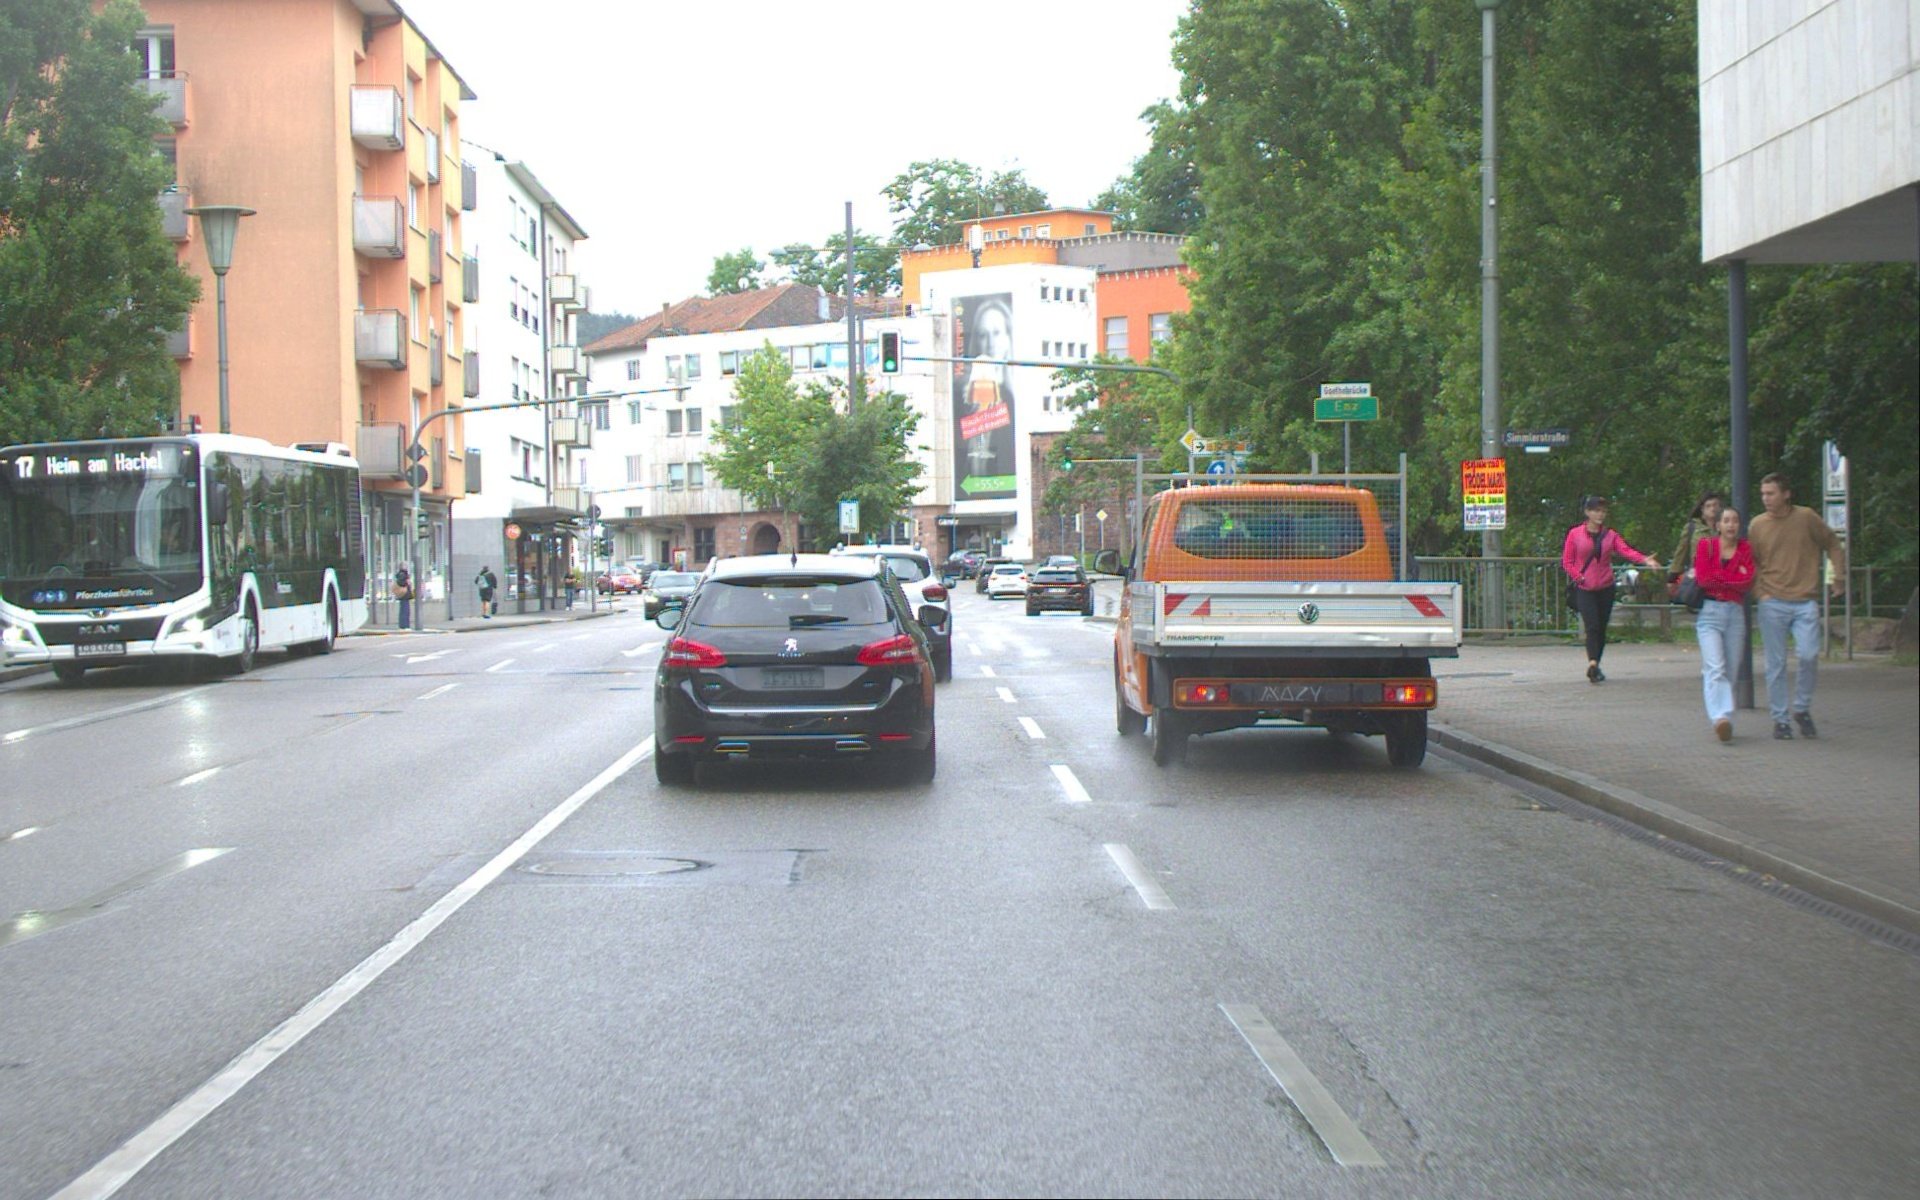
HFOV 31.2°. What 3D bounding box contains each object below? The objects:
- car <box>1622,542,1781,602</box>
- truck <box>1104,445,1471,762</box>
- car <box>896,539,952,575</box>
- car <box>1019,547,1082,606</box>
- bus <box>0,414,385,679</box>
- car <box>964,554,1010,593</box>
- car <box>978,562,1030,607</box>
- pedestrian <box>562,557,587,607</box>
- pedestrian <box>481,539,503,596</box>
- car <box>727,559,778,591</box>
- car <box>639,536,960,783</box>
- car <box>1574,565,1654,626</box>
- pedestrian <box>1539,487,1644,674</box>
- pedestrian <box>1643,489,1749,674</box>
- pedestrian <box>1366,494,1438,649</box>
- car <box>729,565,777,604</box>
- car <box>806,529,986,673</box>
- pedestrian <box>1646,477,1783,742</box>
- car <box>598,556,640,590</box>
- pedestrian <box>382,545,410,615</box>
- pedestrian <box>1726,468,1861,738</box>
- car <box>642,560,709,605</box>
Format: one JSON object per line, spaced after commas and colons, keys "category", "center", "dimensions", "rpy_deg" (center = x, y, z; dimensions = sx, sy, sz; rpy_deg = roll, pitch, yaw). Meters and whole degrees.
{"category": "car", "center": [21.460, -0.819, 99.565], "dimensions": [4.120, 1.615, 1.806], "rpy_deg": [-1, 1, -5]}
{"category": "truck", "center": [2.196, -0.009, 24.400], "dimensions": [2.122, 2.018, 4.716], "rpy_deg": [0, 1, 0]}
{"category": "car", "center": [-1.742, -2.064, 164.932], "dimensions": [1.993, 1.678, 4.001], "rpy_deg": [-1, 1, -10]}
{"category": "car", "center": [2.631, -0.662, 100.633], "dimensions": [1.644, 1.559, 3.600], "rpy_deg": [2, -2, -1]}
{"category": "bus", "center": [-10.157, -0.859, 46.498], "dimensions": [2.744, 3.065, 12.238], "rpy_deg": [-1, 2, 0]}
{"category": "car", "center": [1.178, -1.164, 152.775], "dimensions": [1.644, 1.559, 3.600], "rpy_deg": [2, -2, -6]}
{"category": "car", "center": [1.813, -0.653, 142.591], "dimensions": [1.993, 1.815, 4.000], "rpy_deg": [0, 1, -1]}
{"category": "pedestrian", "center": [-15.883, -0.733, 141.725], "dimensions": [0.726, 2.007, 0.657], "rpy_deg": [3, -2, -34]}
{"category": "pedestrian", "center": [-15.342, -1.074, 112.730], "dimensions": [0.639, 1.854, 0.524], "rpy_deg": [0, 1, -2]}
{"category": "car", "center": [-9.696, -1.152, 160.537], "dimensions": [1.664, 1.395, 3.878], "rpy_deg": [-2, 1, -13]}
{"category": "car", "center": [-0.970, 0.357, 22.766], "dimensions": [1.795, 1.478, 4.000], "rpy_deg": [0, 0, 2]}
{"category": "car", "center": [23.007, -0.147, 121.033], "dimensions": [1.902, 2.007, 3.726], "rpy_deg": [2, -2, -3]}
{"category": "pedestrian", "center": [5.614, -0.175, 30.590], "dimensions": [0.717, 1.614, 0.769], "rpy_deg": [-3, 1, -1]}
{"category": "pedestrian", "center": [6.469, -0.166, 30.227], "dimensions": [0.726, 1.584, 0.606], "rpy_deg": [-3, 1, -1]}
{"category": "pedestrian", "center": [4.845, -0.320, 37.687], "dimensions": [0.639, 1.658, 0.563], "rpy_deg": [-2, 2, -2]}
{"category": "car", "center": [-7.960, -0.604, 132.306], "dimensions": [1.665, 1.395, 3.877], "rpy_deg": [-2, 1, -1]}
{"category": "car", "center": [-0.664, -0.012, 38.252], "dimensions": [1.795, 1.478, 4.000], "rpy_deg": [-1, 1, 1]}
{"category": "pedestrian", "center": [5.177, 0.056, 23.628], "dimensions": [0.653, 1.761, 0.923], "rpy_deg": [-3, 1, -1]}
{"category": "car", "center": [-17.600, -1.382, 177.529], "dimensions": [1.993, 1.678, 4.001], "rpy_deg": [-1, 1, -7]}
{"category": "pedestrian", "center": [-14.034, -0.493, 85.579], "dimensions": [0.530, 1.721, 0.648], "rpy_deg": [-1, 1, 3]}
{"category": "pedestrian", "center": [5.712, 0.017, 23.573], "dimensions": [0.698, 1.795, 0.606], "rpy_deg": [-3, 1, -1]}
{"category": "car", "center": [-8.811, -0.568, 106.848], "dimensions": [1.791, 1.320, 4.407], "rpy_deg": [-1, 1, -1]}
